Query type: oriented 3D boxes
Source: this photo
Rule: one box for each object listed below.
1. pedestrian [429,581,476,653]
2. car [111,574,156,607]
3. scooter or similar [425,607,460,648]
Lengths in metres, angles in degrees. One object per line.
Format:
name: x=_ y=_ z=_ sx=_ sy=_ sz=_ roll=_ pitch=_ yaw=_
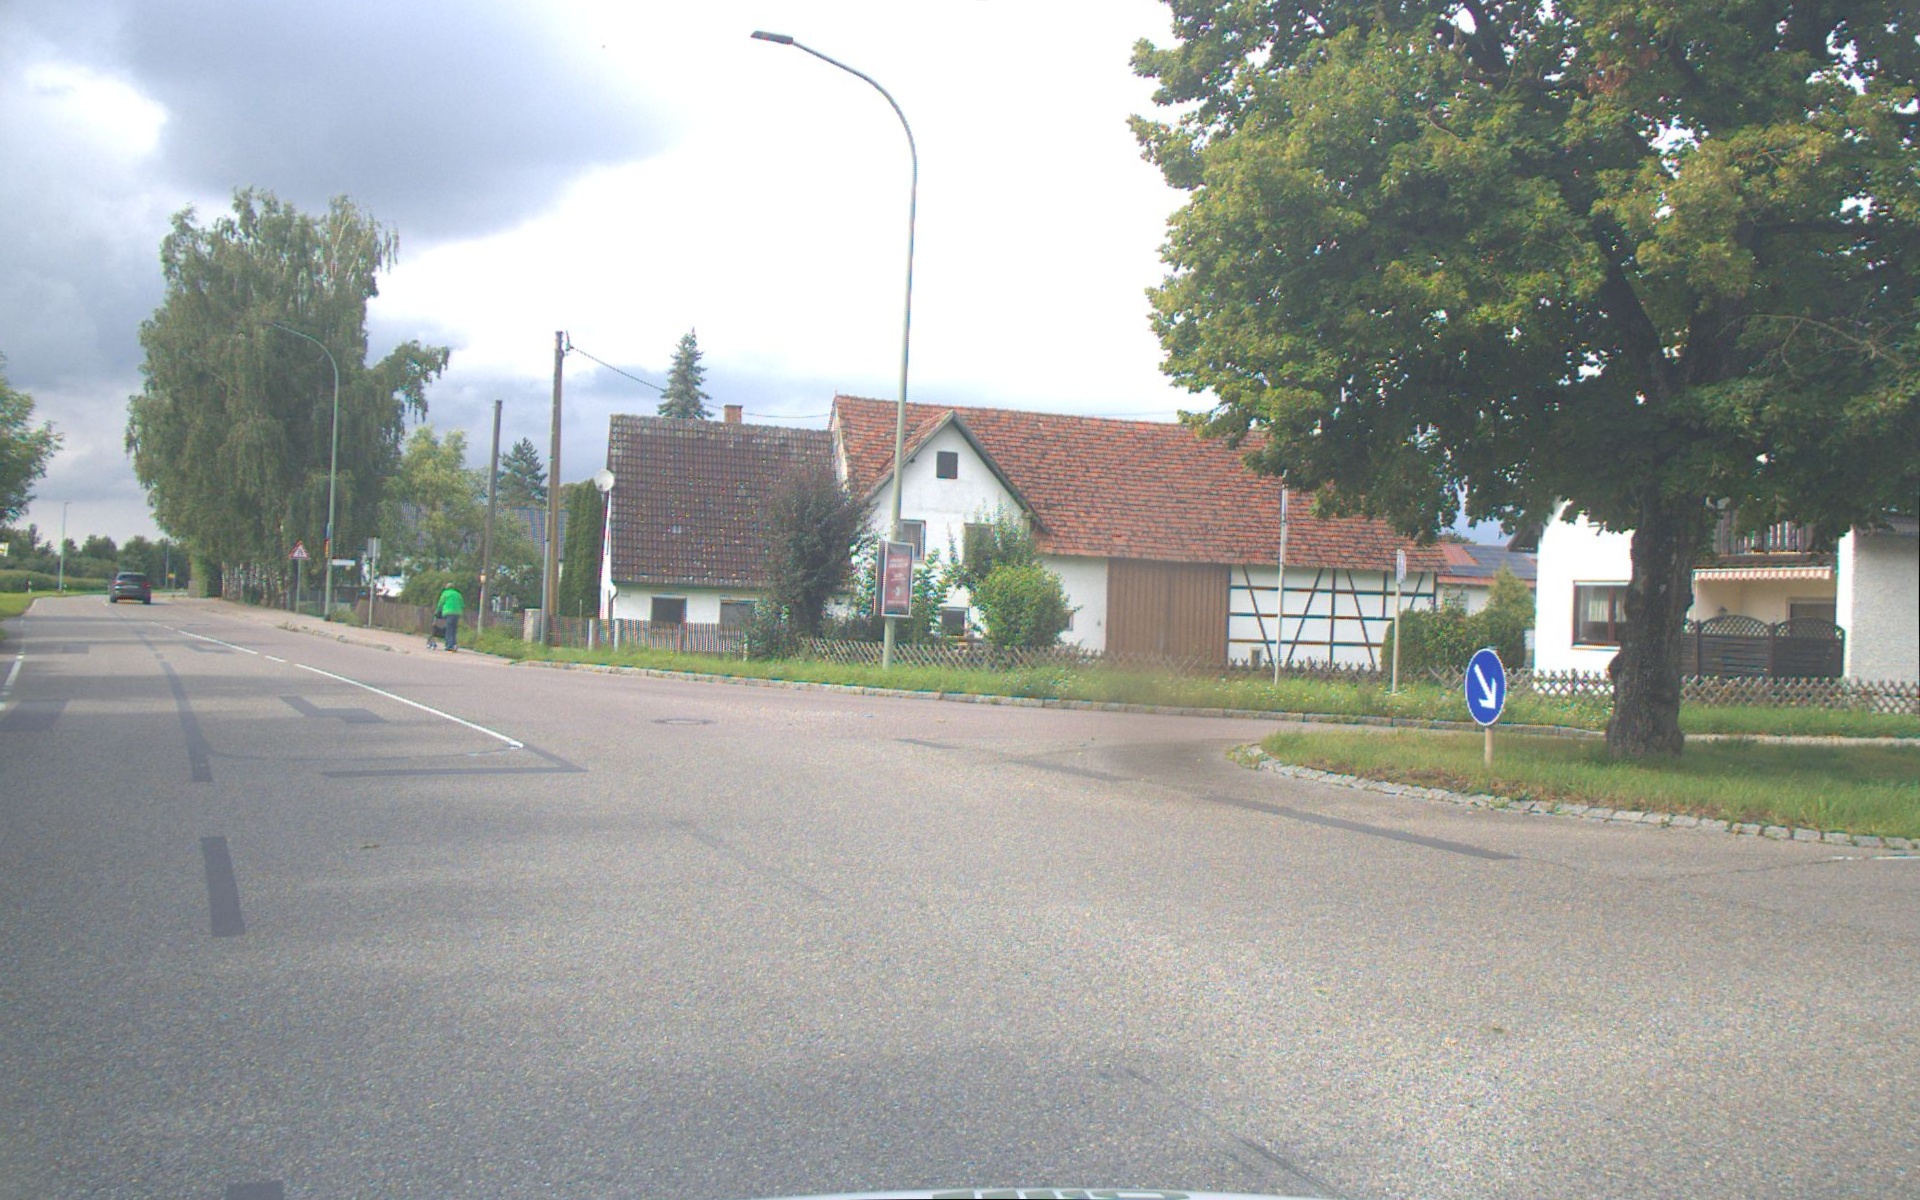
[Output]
pedestrian: x=-12.589 y=0.425 z=41.055 sx=0.781 sy=1.694 sz=0.704 roll=7 pitch=-3 yaw=-33
car: x=-43.106 y=-0.517 z=86.296 sx=1.969 sy=1.579 sz=3.967 roll=3 pitch=0 yaw=-26
scooter or similar: x=-13.014 y=0.695 z=41.597 sx=0.625 sy=0.964 sz=0.615 roll=7 pitch=-3 yaw=-33
